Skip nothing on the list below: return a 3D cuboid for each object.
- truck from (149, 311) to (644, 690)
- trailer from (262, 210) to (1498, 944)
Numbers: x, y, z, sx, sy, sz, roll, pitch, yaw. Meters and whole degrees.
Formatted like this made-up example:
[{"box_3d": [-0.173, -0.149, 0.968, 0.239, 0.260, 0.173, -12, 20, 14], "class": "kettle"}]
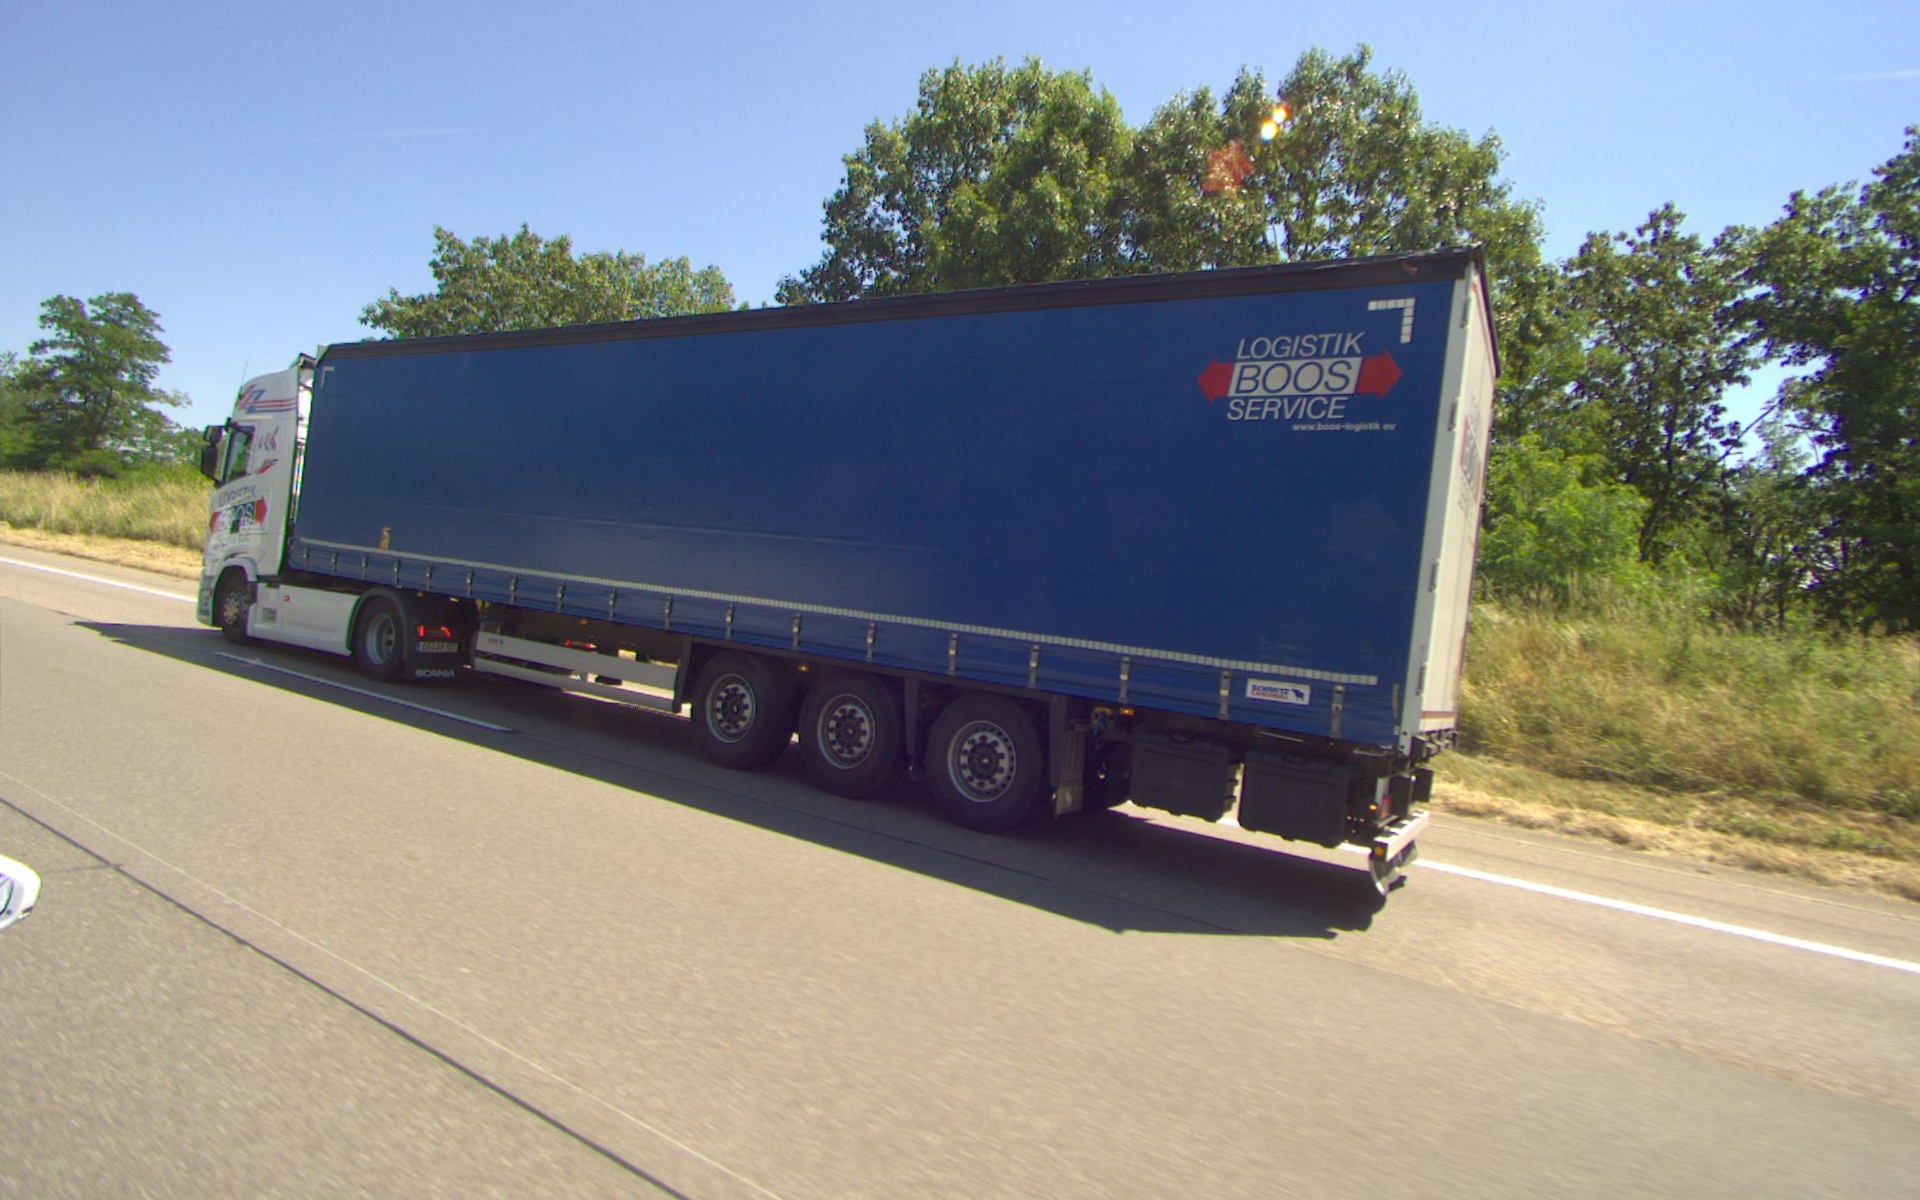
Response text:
[{"box_3d": [-8.086, -1.279, 14.389, 5.908, 4.268, 3.292, 6, -2, 31], "class": "truck"}, {"box_3d": [-2.112, -0.590, 10.702, 13.340, 4.268, 3.292, 6, -2, 32], "class": "trailer"}]
